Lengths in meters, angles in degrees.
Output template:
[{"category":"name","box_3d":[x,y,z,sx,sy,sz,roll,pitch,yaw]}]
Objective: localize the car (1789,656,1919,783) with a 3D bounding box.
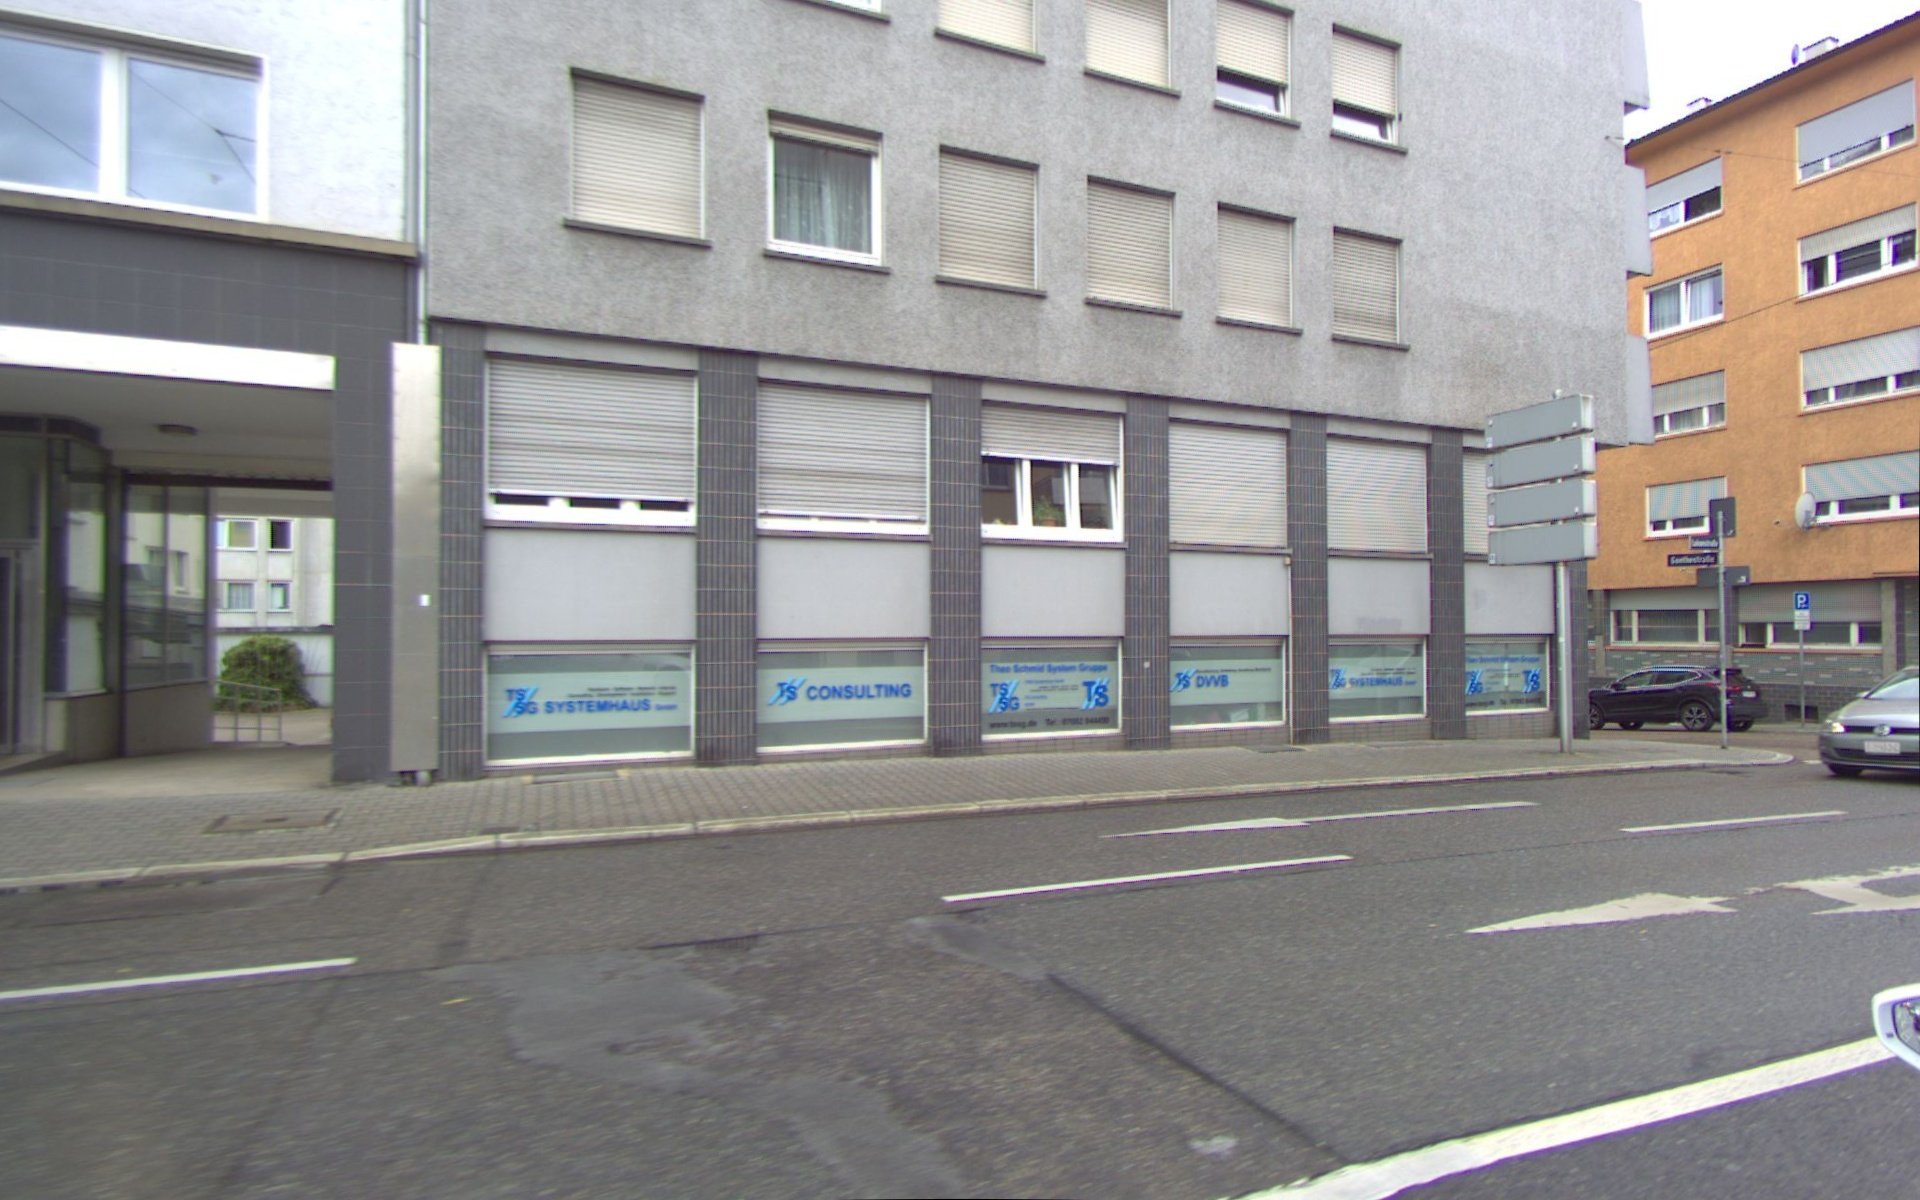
[{"category":"car","box_3d":[12.729,1.424,12.616,4.235,1.434,1.823,1,-5,-24]}]

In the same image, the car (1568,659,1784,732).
[{"category":"car","box_3d":[17.929,2.421,25.396,1.902,1.673,3.982,1,-6,-22]}]

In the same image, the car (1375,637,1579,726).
[{"category":"car","box_3d":[15.672,2.565,30.841,1.958,2.490,5.324,2,-6,-27]}]
